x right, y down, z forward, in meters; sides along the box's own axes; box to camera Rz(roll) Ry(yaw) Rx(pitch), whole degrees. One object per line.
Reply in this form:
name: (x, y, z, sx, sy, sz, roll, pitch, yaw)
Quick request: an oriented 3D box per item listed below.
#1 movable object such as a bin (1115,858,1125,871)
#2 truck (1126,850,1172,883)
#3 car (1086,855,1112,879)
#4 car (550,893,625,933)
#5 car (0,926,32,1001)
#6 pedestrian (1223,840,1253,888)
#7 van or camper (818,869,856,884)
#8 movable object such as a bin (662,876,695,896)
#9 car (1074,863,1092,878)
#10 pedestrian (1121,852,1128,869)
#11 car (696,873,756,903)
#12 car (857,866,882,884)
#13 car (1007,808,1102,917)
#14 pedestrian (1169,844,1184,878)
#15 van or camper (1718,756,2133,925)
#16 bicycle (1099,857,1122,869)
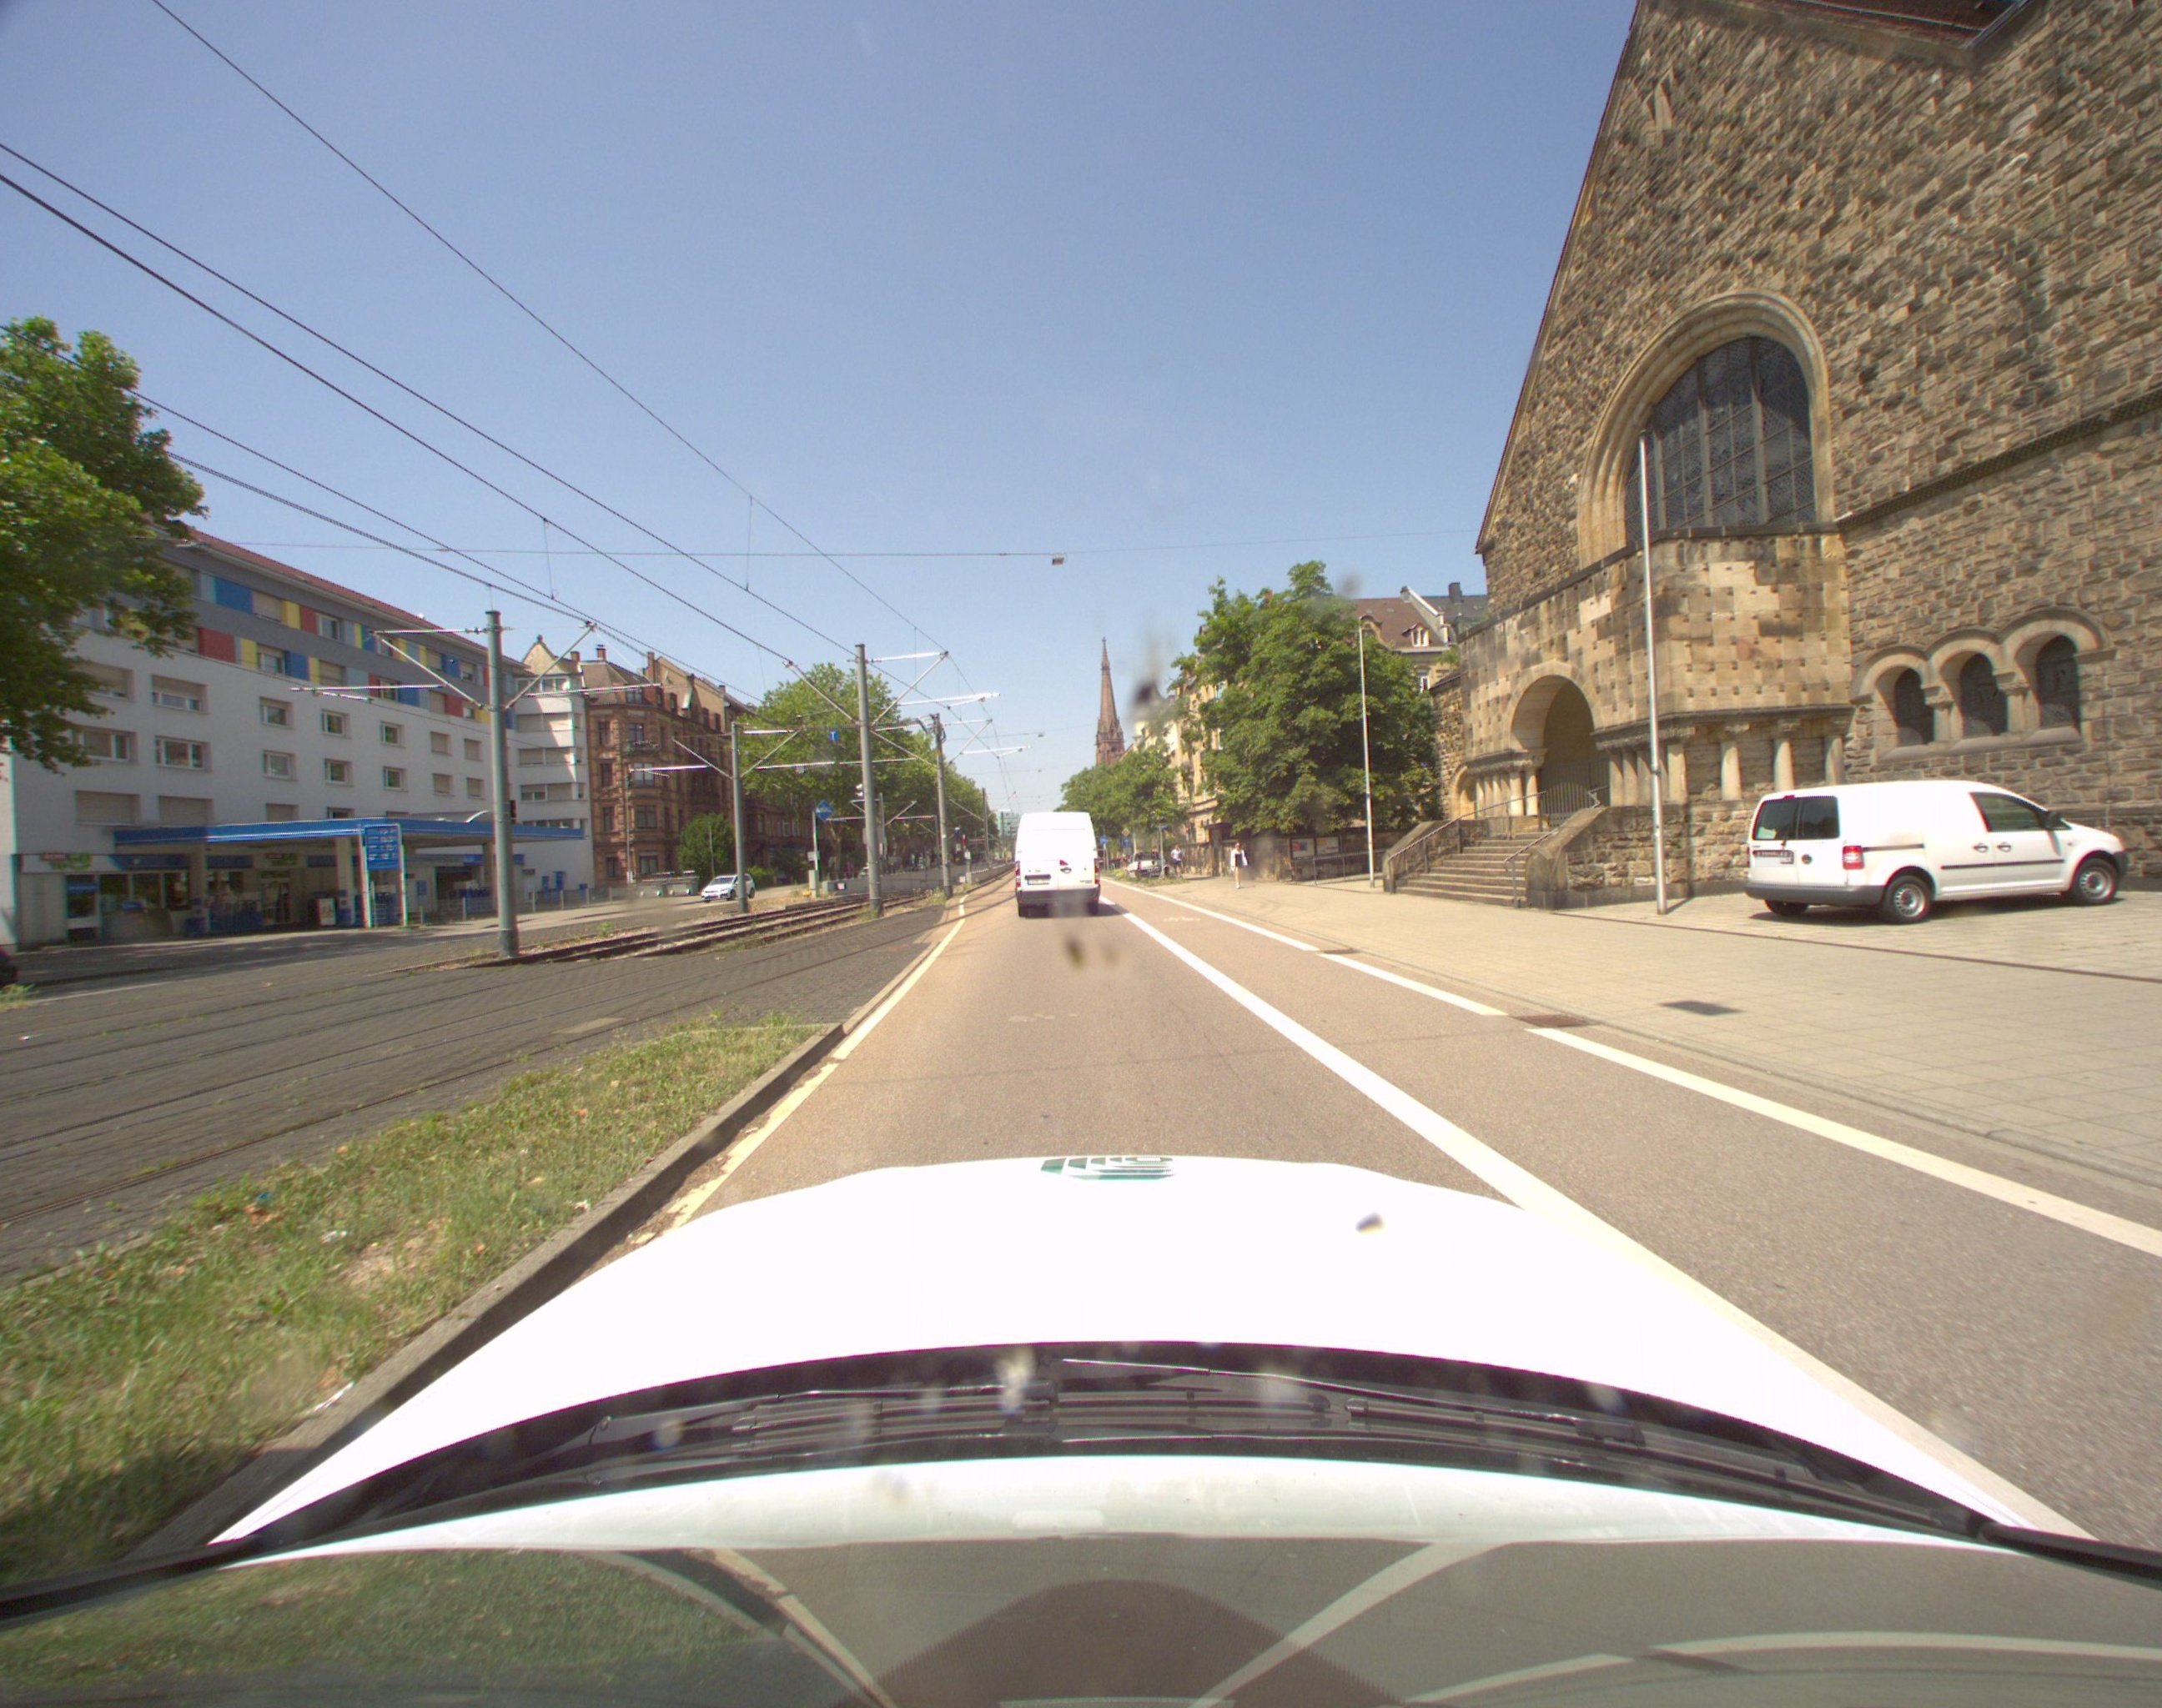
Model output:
movable object such as a bin: (3.223, 0.863, 66.690, 0.784, 1.014, 0.651, -3, -1, 3)
truck: (3.515, 0.634, 42.588, 1.785, 1.526, 4.460, -3, -1, -3)
car: (1.602, 1.127, 73.232, 1.875, 1.947, 4.831, -4, 0, -3)
car: (-24.774, 2.929, 40.994, 1.651, 1.684, 3.702, -3, -1, -4)
car: (-21.625, 2.186, 14.266, 1.593, 1.420, 3.777, -5, 0, -3)
pedestrian: (5.584, 0.344, 29.024, 0.791, 1.650, 0.966, -3, -1, -2)
van or camper: (-33.573, 3.139, 112.163, 4.525, 1.836, 1.933, -3, -1, 2)
movable object such as a bin: (-31.131, 2.483, 62.981, 1.780, 1.385, 1.467, -3, 0, -5)
car: (0.204, 1.767, 88.070, 1.663, 1.530, 4.008, -3, 0, -3)
pedestrian: (4.091, 0.623, 76.673, 0.550, 1.598, 0.727, -3, -1, -1)
car: (-22.448, 2.100, 51.691, 1.842, 1.625, 4.598, -4, -1, -2)
car: (-23.569, 2.312, 90.873, 1.991, 1.904, 4.708, -3, -1, -6)
car: (-0.758, 0.230, 21.566, 2.113, 2.459, 5.047, -3, -1, -3)
pedestrian: (5.049, 0.388, 43.145, 0.619, 1.755, 0.678, -3, -1, -2)
van or camper: (11.487, -0.187, 11.254, 3.981, 1.825, 1.800, -5, 0, -5)
bicycle: (2.525, 0.772, 69.434, 1.883, 0.991, 0.468, -2, -1, -13)
